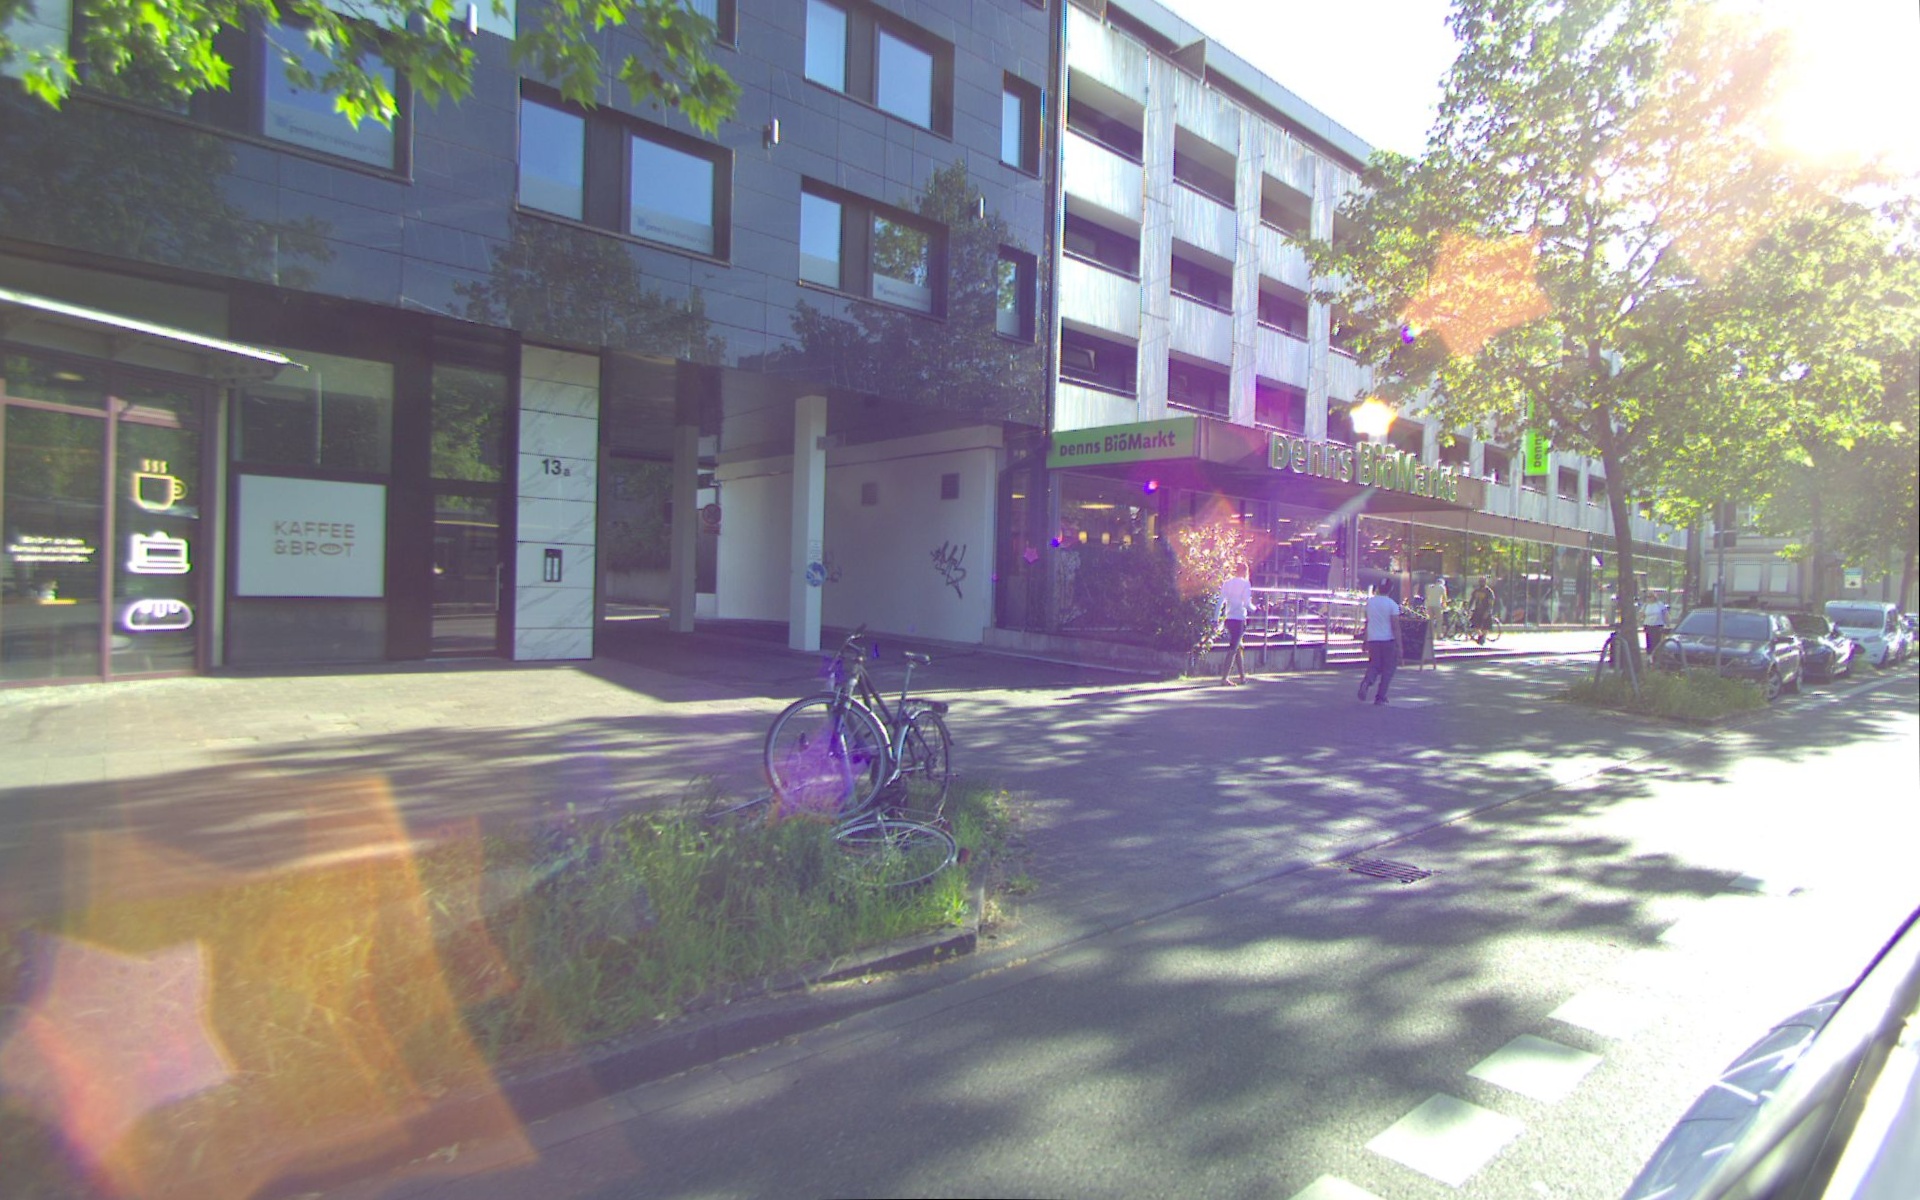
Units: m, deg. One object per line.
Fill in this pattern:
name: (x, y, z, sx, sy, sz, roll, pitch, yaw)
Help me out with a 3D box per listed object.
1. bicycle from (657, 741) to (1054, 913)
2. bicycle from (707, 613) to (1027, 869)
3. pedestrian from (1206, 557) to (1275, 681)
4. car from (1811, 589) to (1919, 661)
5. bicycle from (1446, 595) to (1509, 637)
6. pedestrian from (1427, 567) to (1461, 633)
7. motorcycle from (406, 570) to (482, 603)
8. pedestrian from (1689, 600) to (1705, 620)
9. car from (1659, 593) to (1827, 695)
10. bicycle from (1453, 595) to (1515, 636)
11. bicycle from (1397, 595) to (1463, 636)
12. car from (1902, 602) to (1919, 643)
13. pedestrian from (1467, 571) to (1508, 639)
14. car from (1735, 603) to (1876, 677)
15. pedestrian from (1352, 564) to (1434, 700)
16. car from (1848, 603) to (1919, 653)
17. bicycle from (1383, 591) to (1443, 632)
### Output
bicycle: (-0.572, 1.077, 5.205, 1.364, 0.357, 1.612, 0, 2, -41)
bicycle: (-0.449, 0.678, 5.742, 0.786, 1.147, 1.822, 2, 1, 36)
pedestrian: (4.144, 0.265, 14.947, 0.863, 1.766, 0.561, 1, 1, -42)
car: (25.679, 0.675, 28.625, 4.316, 1.814, 1.768, 1, 2, -41)
bicycle: (14.946, 0.443, 29.267, 0.573, 1.068, 1.709, 3, 2, -14)
pedestrian: (13.188, -0.013, 27.579, 0.607, 1.735, 0.608, 8, 4, 24)
motorcycle: (-18.302, -0.501, 35.893, 2.511, 1.079, 1.087, 2, 1, 24)
pedestrian: (42.584, 0.556, 58.493, 0.672, 1.123, 0.560, 1, 2, -41)
car: (13.791, 0.692, 17.753, 3.930, 1.570, 1.568, 0, 1, -41)
bicycle: (15.588, 0.434, 30.145, 0.573, 1.068, 1.709, 3, 3, -14)
bicycle: (12.305, 0.385, 26.559, 0.573, 0.927, 1.656, 5, 2, -14)
car: (37.249, 0.890, 38.543, 3.627, 1.455, 1.676, 0, 4, -42)
pedestrian: (13.563, 0.126, 26.023, 0.867, 1.698, 0.559, 1, 3, -42)
car: (18.696, 0.801, 22.307, 4.619, 1.436, 1.764, 0, 0, -42)
pedestrian: (5.755, 0.407, 13.443, 1.034, 1.725, 0.561, 1, 1, -42)
car: (30.355, 0.863, 32.872, 4.221, 1.420, 1.732, 0, 3, -42)
bicycle: (13.085, 0.316, 29.267, 0.573, 1.068, 1.709, 5, 1, -14)
